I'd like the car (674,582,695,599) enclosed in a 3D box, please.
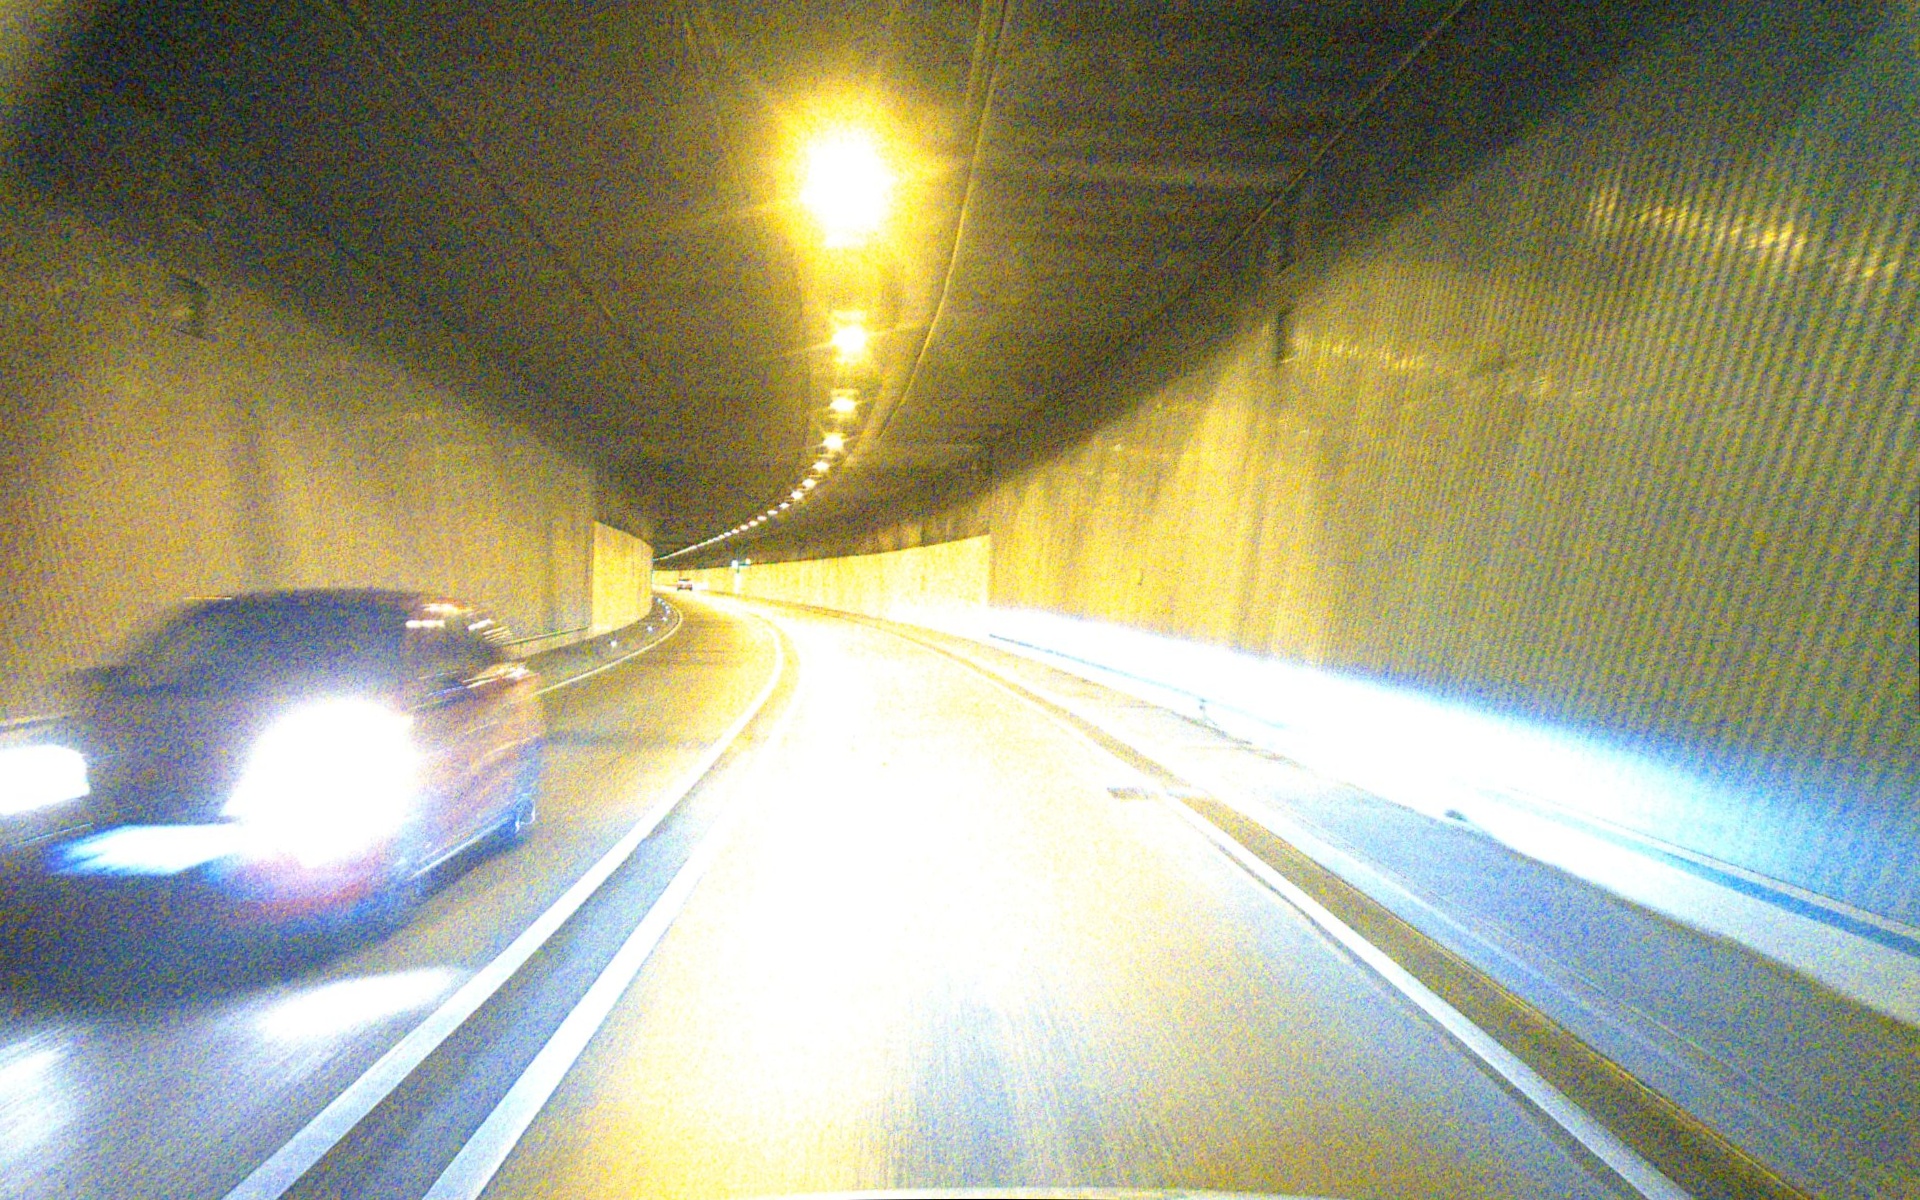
[{"bbox_3d":[-33.888,-1.164,203.315,1.937,1.973,4.588,1,0,-18],"label":"car"}]

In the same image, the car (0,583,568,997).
[{"bbox_3d":[-3.199,0.671,8.140,1.682,1.468,4.391,1,0,-3],"label":"car"}]
